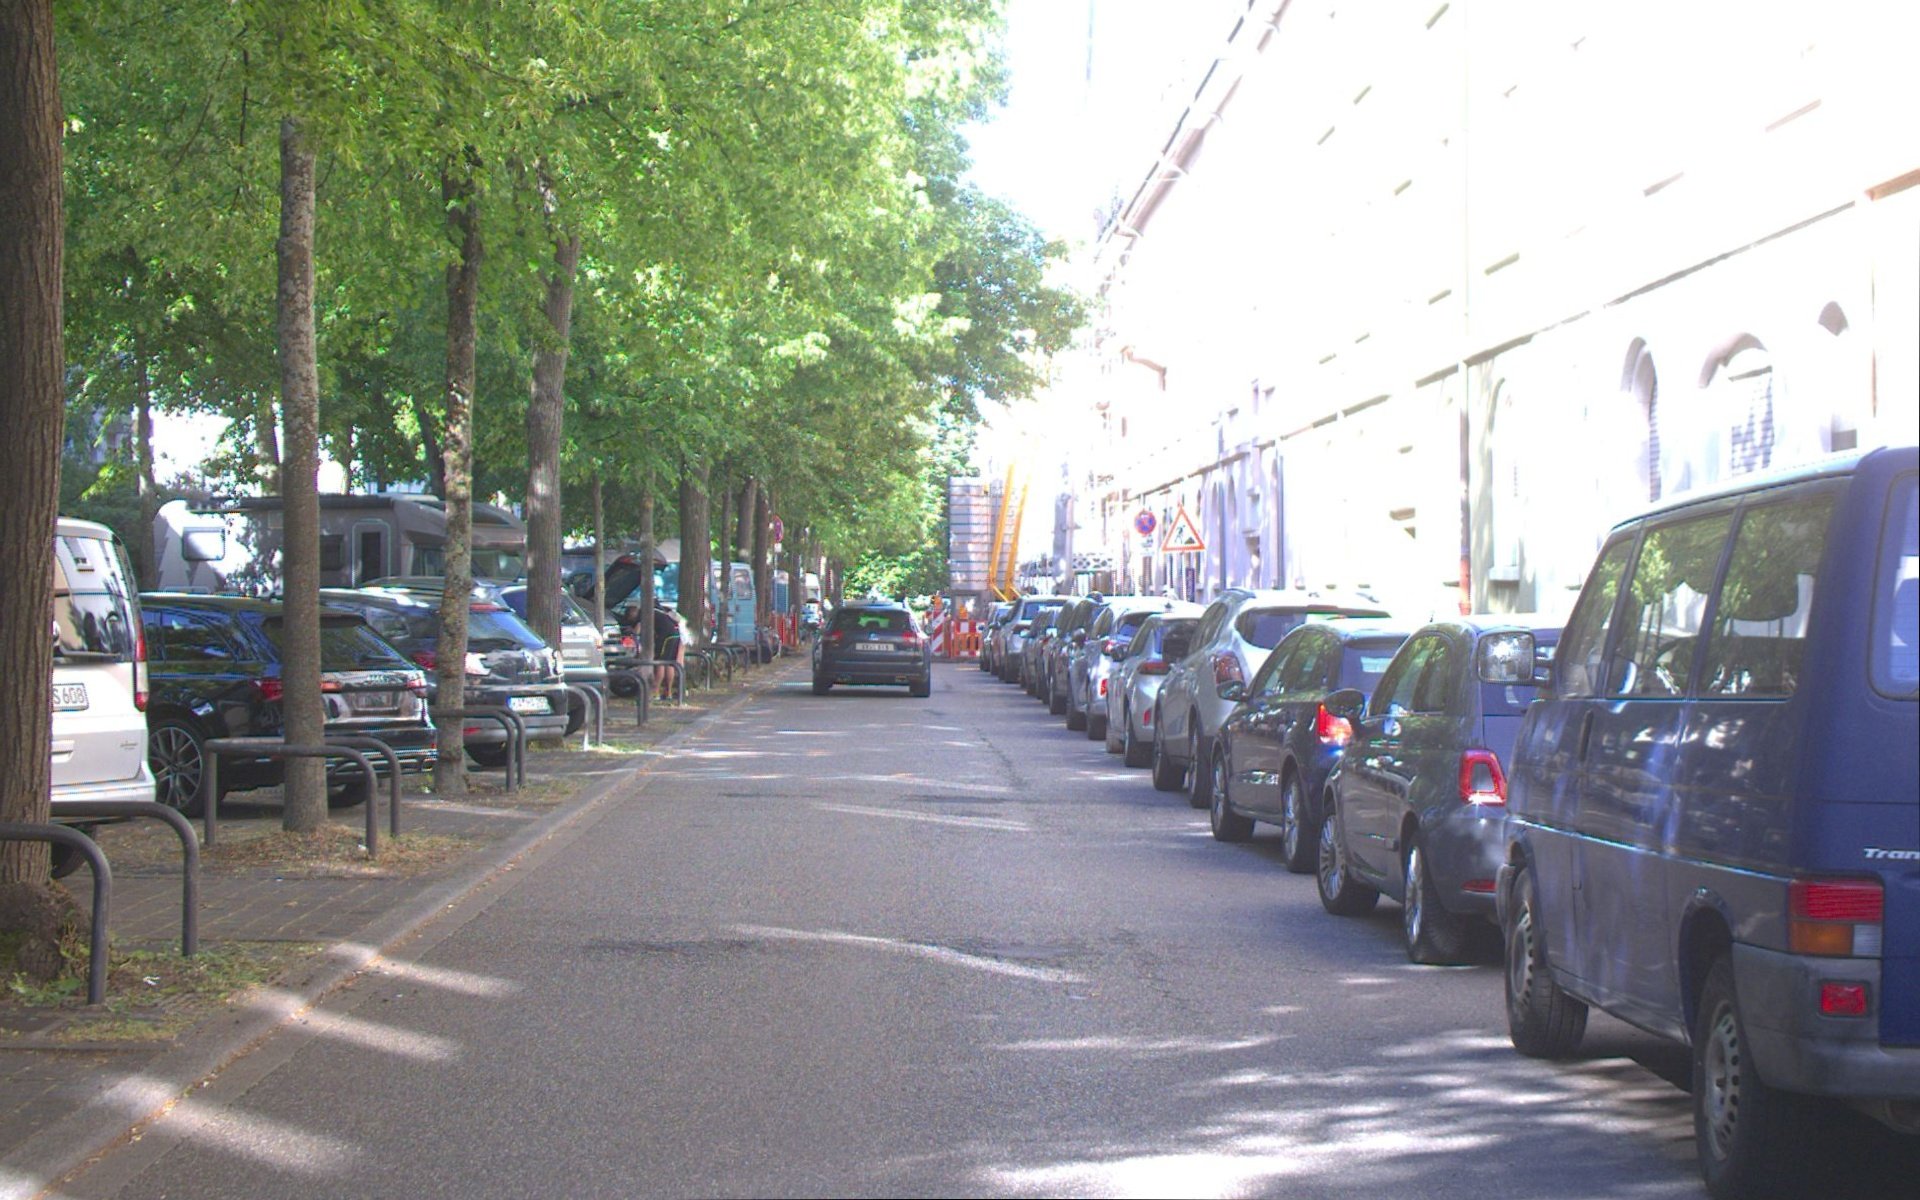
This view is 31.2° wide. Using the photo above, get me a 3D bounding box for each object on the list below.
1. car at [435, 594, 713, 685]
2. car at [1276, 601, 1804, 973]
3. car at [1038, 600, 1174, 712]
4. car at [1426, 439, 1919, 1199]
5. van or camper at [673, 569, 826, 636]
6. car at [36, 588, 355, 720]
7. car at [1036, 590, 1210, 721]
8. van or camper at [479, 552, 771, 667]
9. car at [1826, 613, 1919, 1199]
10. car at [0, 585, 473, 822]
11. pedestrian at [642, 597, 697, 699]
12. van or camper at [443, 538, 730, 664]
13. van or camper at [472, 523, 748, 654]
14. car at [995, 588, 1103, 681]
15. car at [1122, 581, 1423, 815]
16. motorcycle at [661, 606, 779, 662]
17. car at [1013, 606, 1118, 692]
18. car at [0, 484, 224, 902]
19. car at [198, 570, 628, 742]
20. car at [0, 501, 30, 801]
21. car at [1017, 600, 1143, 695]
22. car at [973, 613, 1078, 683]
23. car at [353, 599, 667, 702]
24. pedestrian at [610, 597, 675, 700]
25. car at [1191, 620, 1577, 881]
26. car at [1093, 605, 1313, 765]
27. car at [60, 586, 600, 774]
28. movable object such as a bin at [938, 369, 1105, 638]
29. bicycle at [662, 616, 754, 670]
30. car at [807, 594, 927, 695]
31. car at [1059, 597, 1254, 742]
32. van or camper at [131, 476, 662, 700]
[{"bbox_3d":[-6.419,0.625,57.031,4.482,1.438,1.729,0,0,32],"label":"car"},{"bbox_3d":[2.528,0.763,15.778,1.621,1.493,3.595,0,0,-3],"label":"car"},{"bbox_3d":[2.058,0.776,49.297,1.630,1.529,3.593,0,0,-3],"label":"car"},{"bbox_3d":[2.720,0.579,10.177,1.948,1.894,4.846,0,0,-1],"label":"car"},{"bbox_3d":[-7.883,0.099,128.476,5.342,2.466,2.290,0,0,31],"label":"van or camper"},{"bbox_3d":[-9.165,0.620,41.175,3.539,1.502,1.754,0,0,33],"label":"car"},{"bbox_3d":[2.047,0.679,44.230,1.722,1.591,4.159,0,0,-4],"label":"car"},{"bbox_3d":[-6.786,0.184,69.633,5.504,2.268,2.218,0,0,23],"label":"van or camper"},{"bbox_3d":[2.678,0.786,4.777,1.762,1.495,4.238,0,0,-2],"label":"car"},{"bbox_3d":[-5.597,0.632,23.083,4.483,1.450,1.784,0,0,31],"label":"car"},{"bbox_3d":[-4.147,0.682,49.135,0.615,1.451,0.519,0,0,22],"label":"pedestrian"},{"bbox_3d":[-8.043,0.016,73.867,5.877,2.628,2.251,0,0,28],"label":"van or camper"},{"bbox_3d":[-8.872,-0.283,86.965,6.666,3.230,2.492,0,0,28],"label":"van or camper"},{"bbox_3d":[1.636,0.620,64.747,1.816,1.668,4.673,0,0,-1],"label":"car"},{"bbox_3d":[2.360,0.701,26.912,1.722,1.680,4.158,0,0,-4],"label":"car"},{"bbox_3d":[-5.430,0.758,77.837,2.550,1.254,0.762,0,0,7],"label":"motorcycle"},{"bbox_3d":[1.784,0.825,59.164,1.617,1.408,3.788,0,0,-1],"label":"car"},{"bbox_3d":[-6.086,0.389,16.749,4.515,1.858,2.078,1,0,24],"label":"car"},{"bbox_3d":[-5.633,0.533,35.311,4.140,1.673,1.756,0,0,28],"label":"car"},{"bbox_3d":[-8.231,0.324,21.394,4.598,1.826,2.015,0,-1,28],"label":"car"},{"bbox_3d":[1.842,0.722,53.866,1.630,1.408,4.089,0,0,-3],"label":"car"},{"bbox_3d":[1.373,1.011,74.103,1.993,1.404,4.501,1,0,-2],"label":"car"},{"bbox_3d":[-6.551,0.714,50.004,4.321,1.419,1.673,0,0,26],"label":"car"},{"bbox_3d":[-4.490,0.680,48.636,0.710,1.451,0.595,0,0,22],"label":"pedestrian"},{"bbox_3d":[2.459,0.837,20.795,1.549,1.389,3.862,0,0,-5],"label":"car"},{"bbox_3d":[2.288,0.777,33.299,1.722,1.427,4.158,0,0,-1],"label":"car"},{"bbox_3d":[-5.308,0.632,28.781,4.417,1.457,1.713,0,-1,31],"label":"car"},{"bbox_3d":[1.578,-2.421,87.898,3.485,6.737,2.364,1,0,31],"label":"movable object such as a bin"},{"bbox_3d":[-4.831,0.820,65.976,1.719,1.002,0.511,0,0,-31],"label":"bicycle"},{"bbox_3d":[-1.468,0.673,53.630,1.797,1.498,3.586,0,0,-2],"label":"car"},{"bbox_3d":[2.158,0.741,38.697,1.722,1.523,4.158,0,0,-3],"label":"car"},{"bbox_3d":[-7.834,-0.154,47.503,7.236,2.920,2.311,0,0,26],"label":"van or camper"}]
